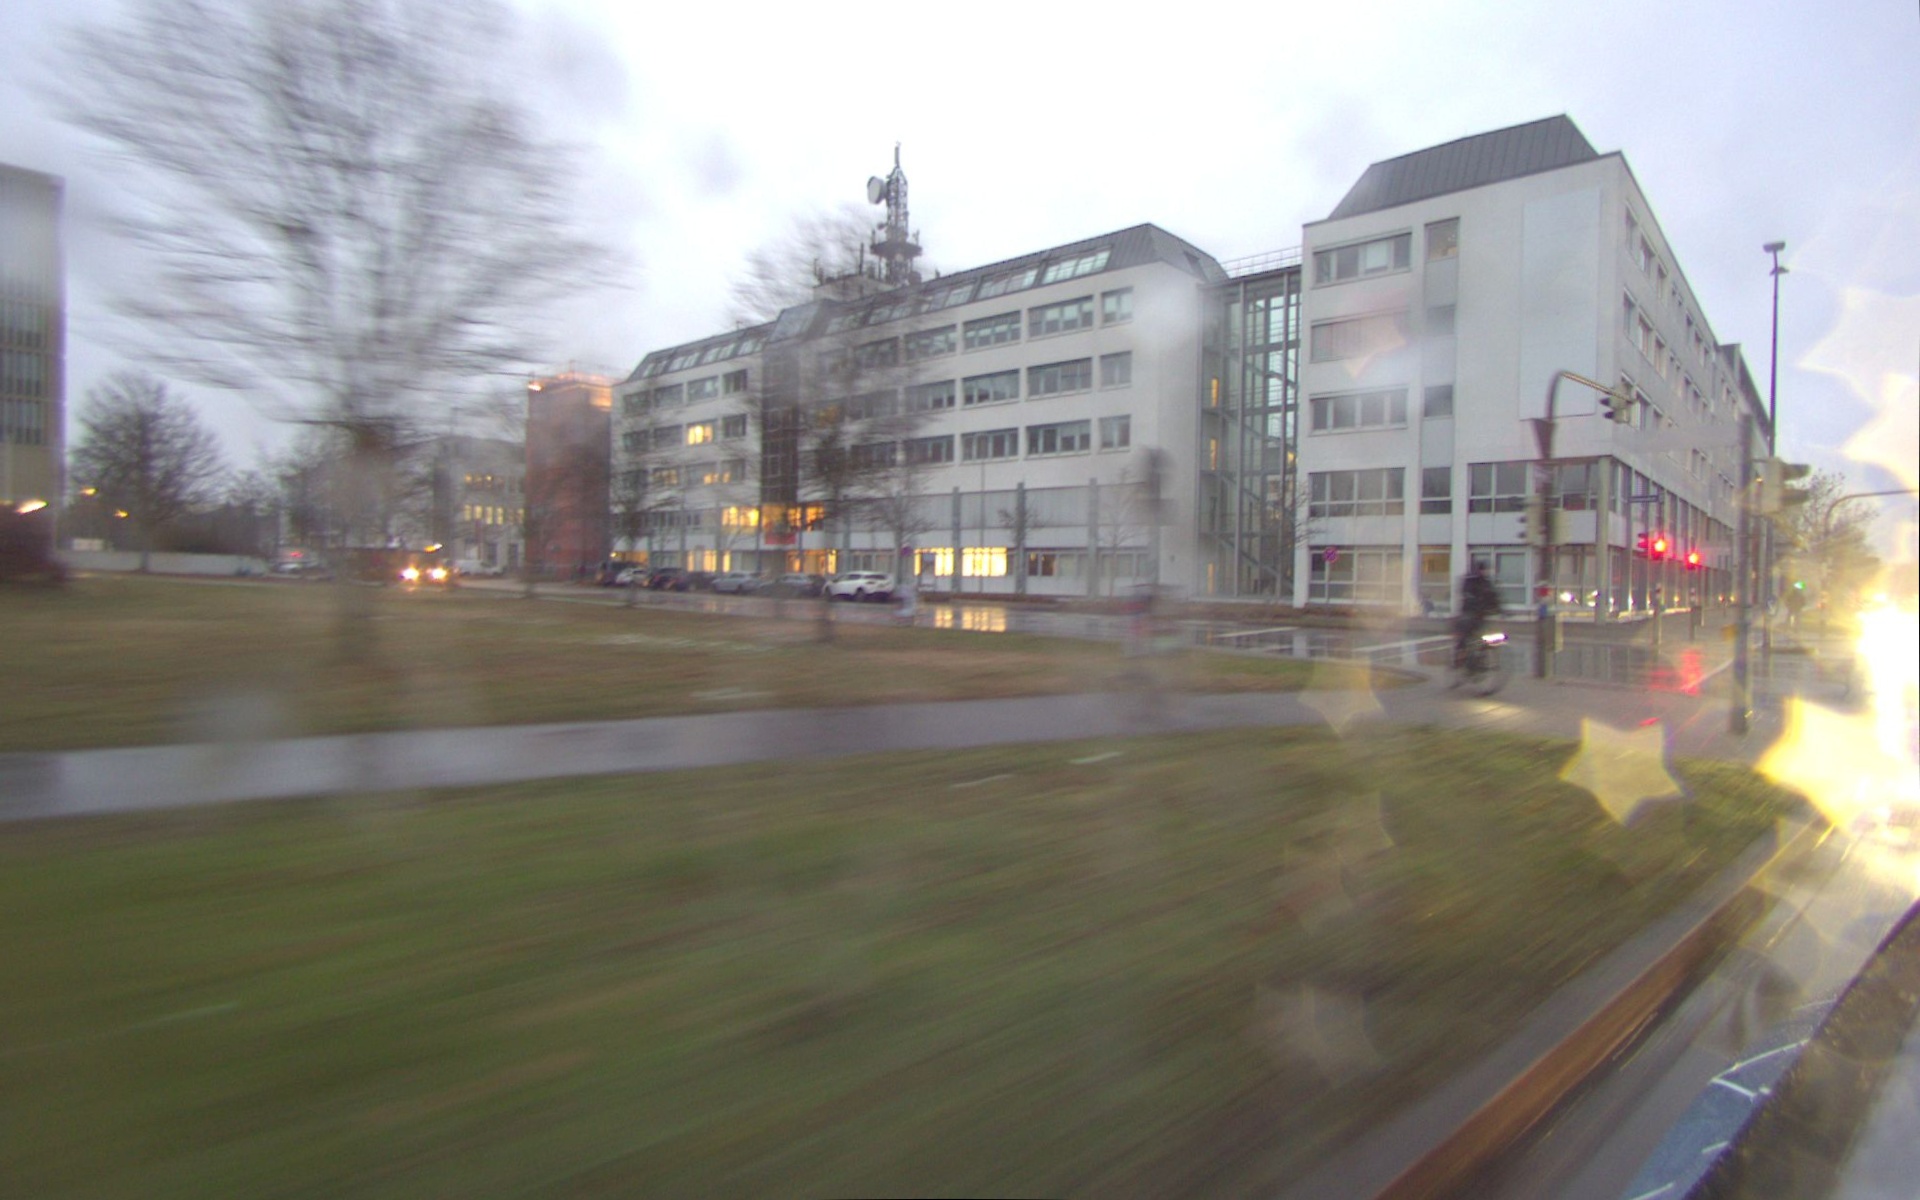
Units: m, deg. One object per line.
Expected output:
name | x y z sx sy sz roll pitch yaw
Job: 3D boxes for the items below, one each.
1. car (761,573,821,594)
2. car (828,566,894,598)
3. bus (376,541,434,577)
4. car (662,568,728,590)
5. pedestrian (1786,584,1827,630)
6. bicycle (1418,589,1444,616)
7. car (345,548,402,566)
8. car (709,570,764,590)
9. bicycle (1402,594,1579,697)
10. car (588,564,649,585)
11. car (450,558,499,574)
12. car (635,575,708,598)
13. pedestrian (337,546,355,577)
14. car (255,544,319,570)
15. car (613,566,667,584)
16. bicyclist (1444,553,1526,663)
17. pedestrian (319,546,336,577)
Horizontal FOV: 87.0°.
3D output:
car | -10.348 -1.005 61.778 3.702 1.199 1.520 0 1 38
car | -5.443 -0.981 55.504 3.268 1.657 1.969 0 1 44
bus | -45.497 -3.314 82.838 2.259 2.746 8.130 -2 1 -43
car | -18.094 -1.418 69.291 1.766 1.439 4.072 0 1 42
pedestrian | 34.315 0.265 41.037 0.843 1.771 0.801 3 4 -21
bicycle | 19.745 0.094 42.388 0.470 1.118 1.847 2 2 41
car | -50.398 -3.684 86.943 3.933 1.497 1.832 -2 1 -43
car | -14.362 -1.287 64.864 3.776 1.241 1.358 0 1 38
bicycle | 7.244 0.578 13.852 1.960 1.231 1.025 3 1 39
car | -25.733 -1.915 76.368 1.601 1.548 4.062 0 1 42
car | -45.754 -3.184 95.448 1.666 1.472 3.805 0 1 44
car | -20.431 -0.968 71.884 1.767 1.575 4.737 0 1 44
pedestrian | -40.981 -2.567 67.570 0.749 2.039 0.803 0 1 43
car | -55.484 -3.523 83.426 4.206 2.039 1.998 -2 1 -39
car | -23.721 -1.855 74.995 1.699 1.330 3.444 0 1 42
bicyclist | 7.211 0.090 13.895 0.751 1.448 0.912 0 1 45
pedestrian | -41.831 -2.543 66.939 0.788 2.039 0.640 -1 1 -42
